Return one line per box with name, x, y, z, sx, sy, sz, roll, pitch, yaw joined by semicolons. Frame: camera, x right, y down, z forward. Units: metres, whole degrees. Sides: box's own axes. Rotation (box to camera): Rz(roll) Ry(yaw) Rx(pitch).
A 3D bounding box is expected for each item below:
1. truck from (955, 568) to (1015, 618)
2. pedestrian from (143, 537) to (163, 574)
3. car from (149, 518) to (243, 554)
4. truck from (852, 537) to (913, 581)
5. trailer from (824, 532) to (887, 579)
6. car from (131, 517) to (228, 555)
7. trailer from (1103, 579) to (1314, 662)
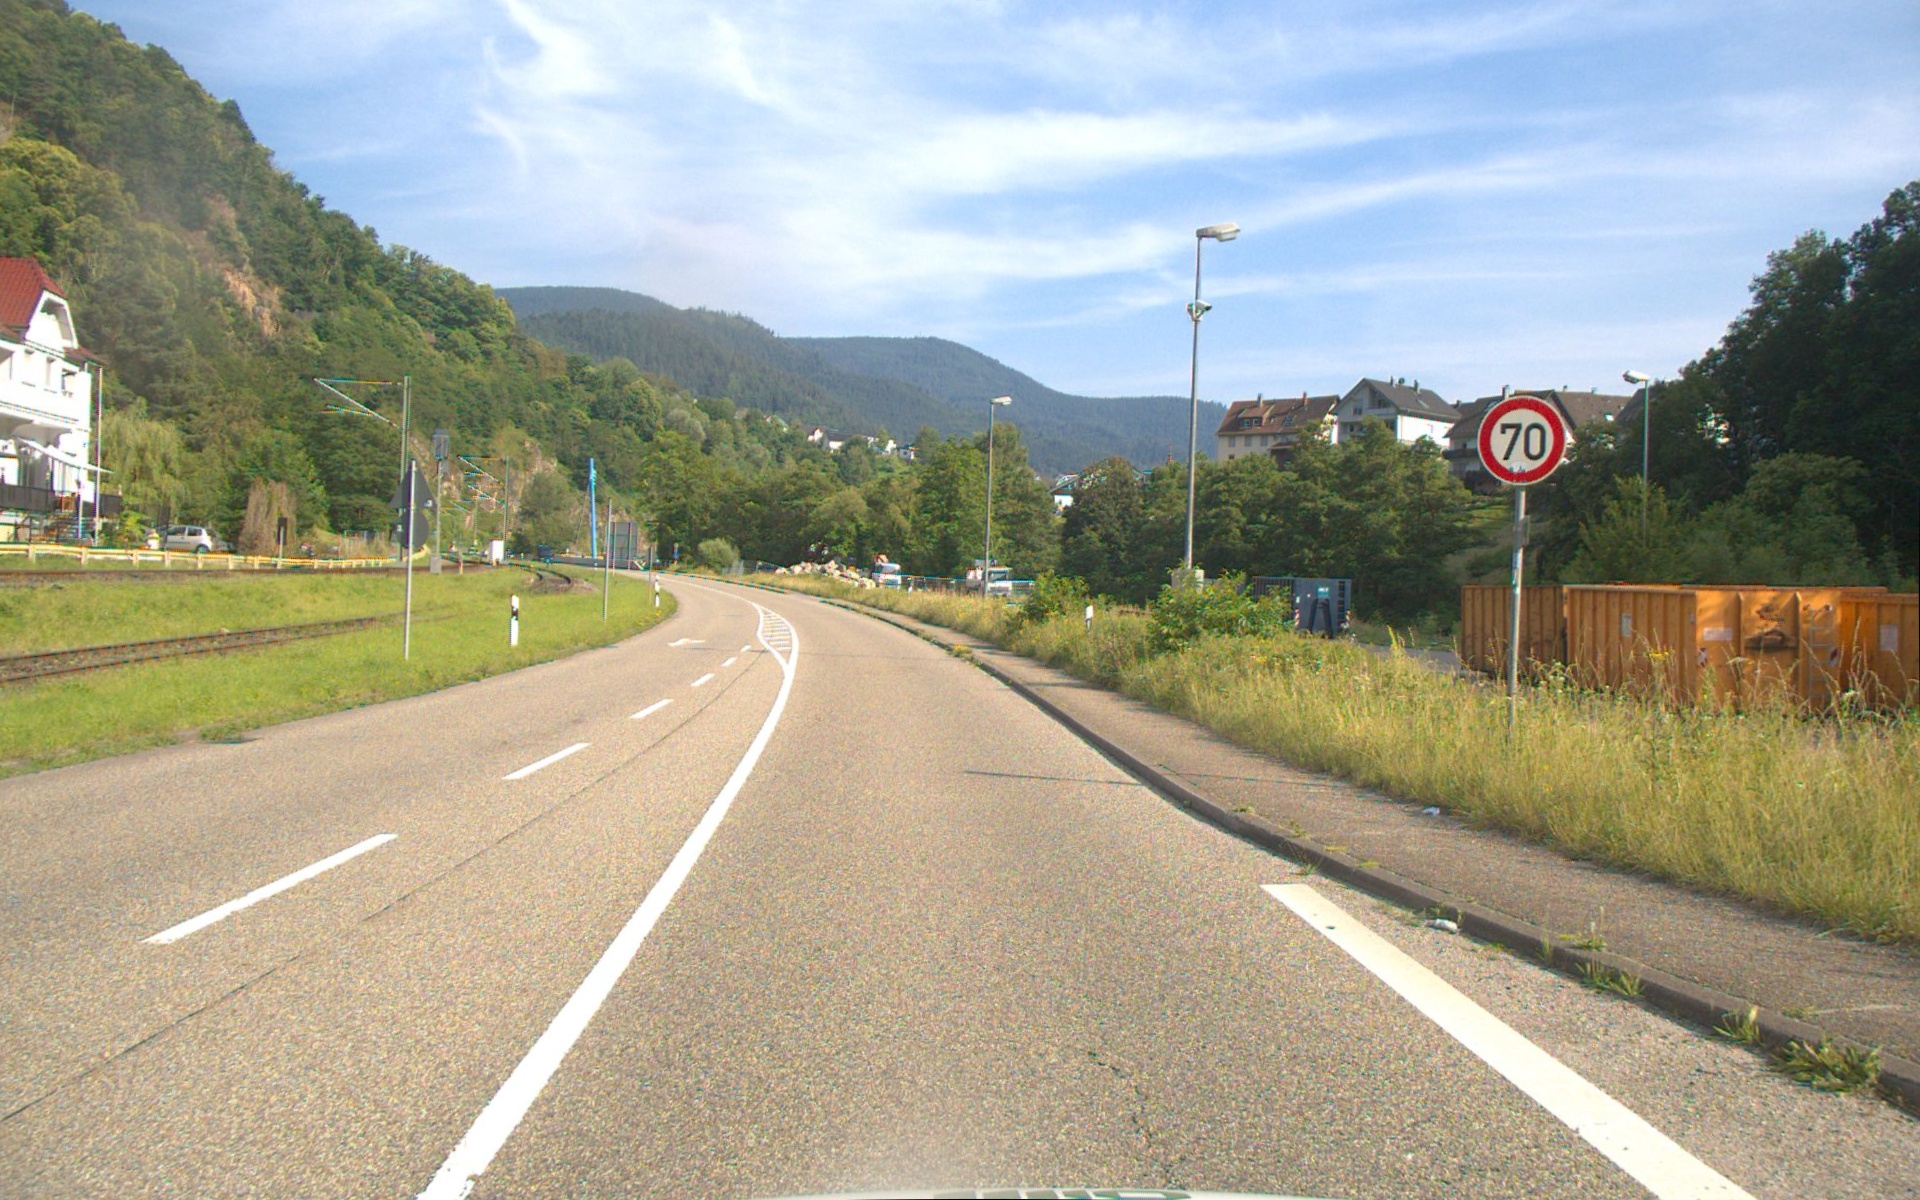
truck;2.037;-0.636;139.587;3.049;3.847;8.619;3;1;-12
pedestrian;-36.483;-1.999;74.802;0.595;1.644;0.676;2;1;-10
car;-40.689;-3.386;88.173;4.067;1.721;1.997;2;1;-8
truck;-7.359;-3.879;155.813;3.059;3.847;8.592;3;1;-21
trailer;-10.496;-4.442;164.450;3.317;4.348;9.849;3;1;-21
car;-40.349;-3.294;85.552;4.067;1.721;1.997;2;1;-8
trailer;5.974;0.395;41.759;2.739;1.499;9.875;4;1;-6
